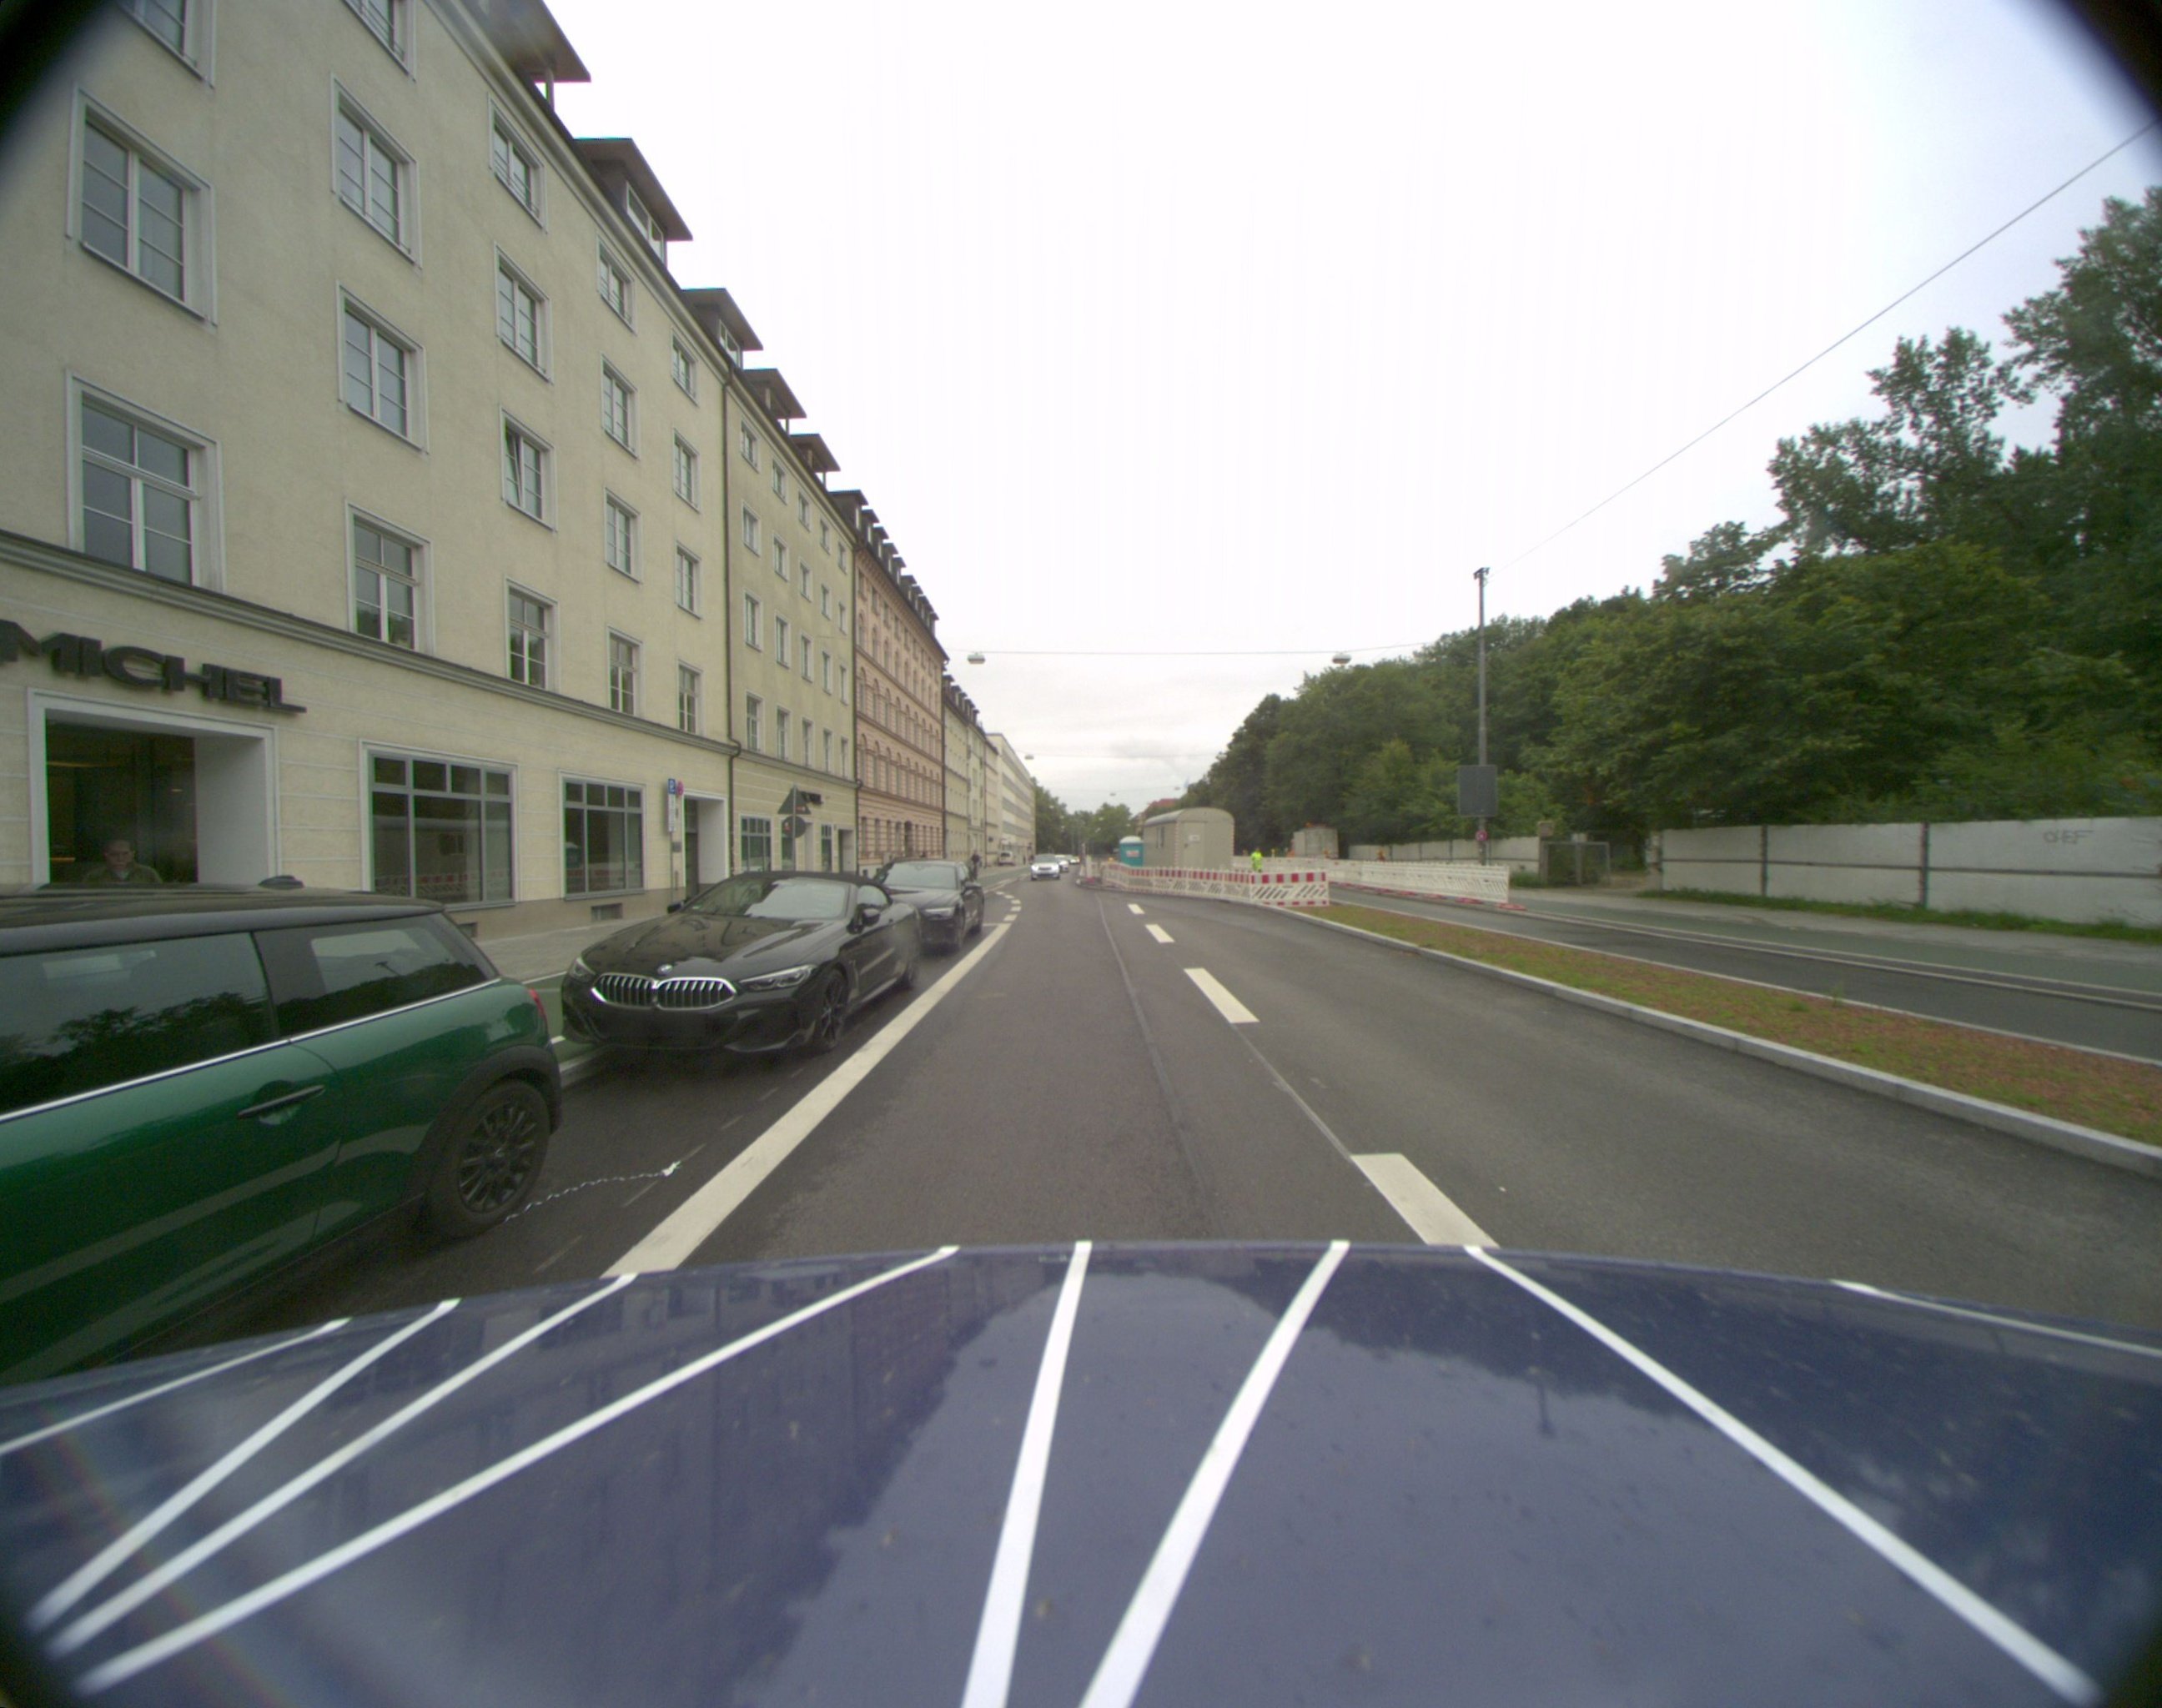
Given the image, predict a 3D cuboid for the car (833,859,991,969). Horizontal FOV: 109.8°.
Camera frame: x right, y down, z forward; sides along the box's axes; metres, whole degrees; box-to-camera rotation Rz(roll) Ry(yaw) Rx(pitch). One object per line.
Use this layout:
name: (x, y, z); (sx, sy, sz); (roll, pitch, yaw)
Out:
car: (-2.749, 0.903, 13.403); (1.813, 1.472, 4.461); (3, 0, -1)

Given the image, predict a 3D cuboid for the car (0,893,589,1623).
car: (-3.264, 0.981, 1.716); (1.679, 1.512, 3.829); (-2, 0, 2)

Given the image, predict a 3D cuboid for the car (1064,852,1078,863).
car: (-1.356, 0.465, 103.906); (1.759, 1.461, 3.999); (-2, 0, -1)

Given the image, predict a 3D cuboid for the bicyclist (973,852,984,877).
bicyclist: (-6.172, 0.637, 45.642); (0.632, 1.459, 0.652); (-1, 1, -6)

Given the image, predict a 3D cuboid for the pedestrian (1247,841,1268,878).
pedestrian: (9.328, 0.281, 40.269); (0.890, 1.930, 0.875); (-1, 1, -2)

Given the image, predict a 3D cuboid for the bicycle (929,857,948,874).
bicycle: (-10.010, 0.790, 53.455); (0.556, 1.170, 1.727); (0, 1, 15)

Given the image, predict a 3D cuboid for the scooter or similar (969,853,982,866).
scooter or similar: (-9.977, 0.499, 71.955); (0.552, 1.238, 1.079); (0, 1, 35)

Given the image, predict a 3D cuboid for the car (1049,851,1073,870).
car: (-1.688, 0.531, 63.177); (1.759, 1.461, 3.998); (-2, 0, -4)

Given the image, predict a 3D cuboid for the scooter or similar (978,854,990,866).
scooter or similar: (-9.969, 0.632, 78.186); (1.079, 1.185, 0.436); (-1, 1, -39)

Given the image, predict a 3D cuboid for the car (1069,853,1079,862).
car: (-1.272, 0.660, 137.045); (1.759, 1.461, 3.999); (-2, 0, -1)

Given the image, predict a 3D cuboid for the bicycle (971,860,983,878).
bicycle: (-6.237, 0.910, 45.622); (0.632, 1.031, 2.016); (-1, 0, -6)

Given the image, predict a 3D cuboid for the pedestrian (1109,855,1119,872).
pedestrian: (3.451, 0.993, 79.411); (0.860, 1.826, 0.874); (-1, 1, -7)

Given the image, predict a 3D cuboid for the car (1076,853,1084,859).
car: (-0.326, 0.462, 178.959); (1.759, 1.461, 3.999); (-2, 0, -1)

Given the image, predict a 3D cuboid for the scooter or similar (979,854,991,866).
scooter or similar: (-9.706, 0.624, 76.850); (1.078, 1.185, 0.453); (-1, 1, -29)

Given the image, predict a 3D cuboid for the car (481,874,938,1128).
car: (-2.797, 0.998, 7.161); (1.830, 1.399, 4.719); (-2, 0, 2)

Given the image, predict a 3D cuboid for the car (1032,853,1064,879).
car: (-2.002, 0.678, 45.370); (1.759, 1.461, 3.998); (-2, 0, -4)

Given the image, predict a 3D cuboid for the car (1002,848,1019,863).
car: (-8.704, 0.166, 94.408); (1.766, 1.821, 3.999); (-1, 1, 0)

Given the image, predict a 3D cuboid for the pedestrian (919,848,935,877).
pedestrian: (-9.434, 0.524, 46.502); (0.795, 1.735, 0.833); (-1, 1, 1)

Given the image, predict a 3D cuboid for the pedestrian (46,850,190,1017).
pedestrian: (-10.375, 0.799, 8.199); (0.859, 1.679, 0.782); (1, 1, 26)
